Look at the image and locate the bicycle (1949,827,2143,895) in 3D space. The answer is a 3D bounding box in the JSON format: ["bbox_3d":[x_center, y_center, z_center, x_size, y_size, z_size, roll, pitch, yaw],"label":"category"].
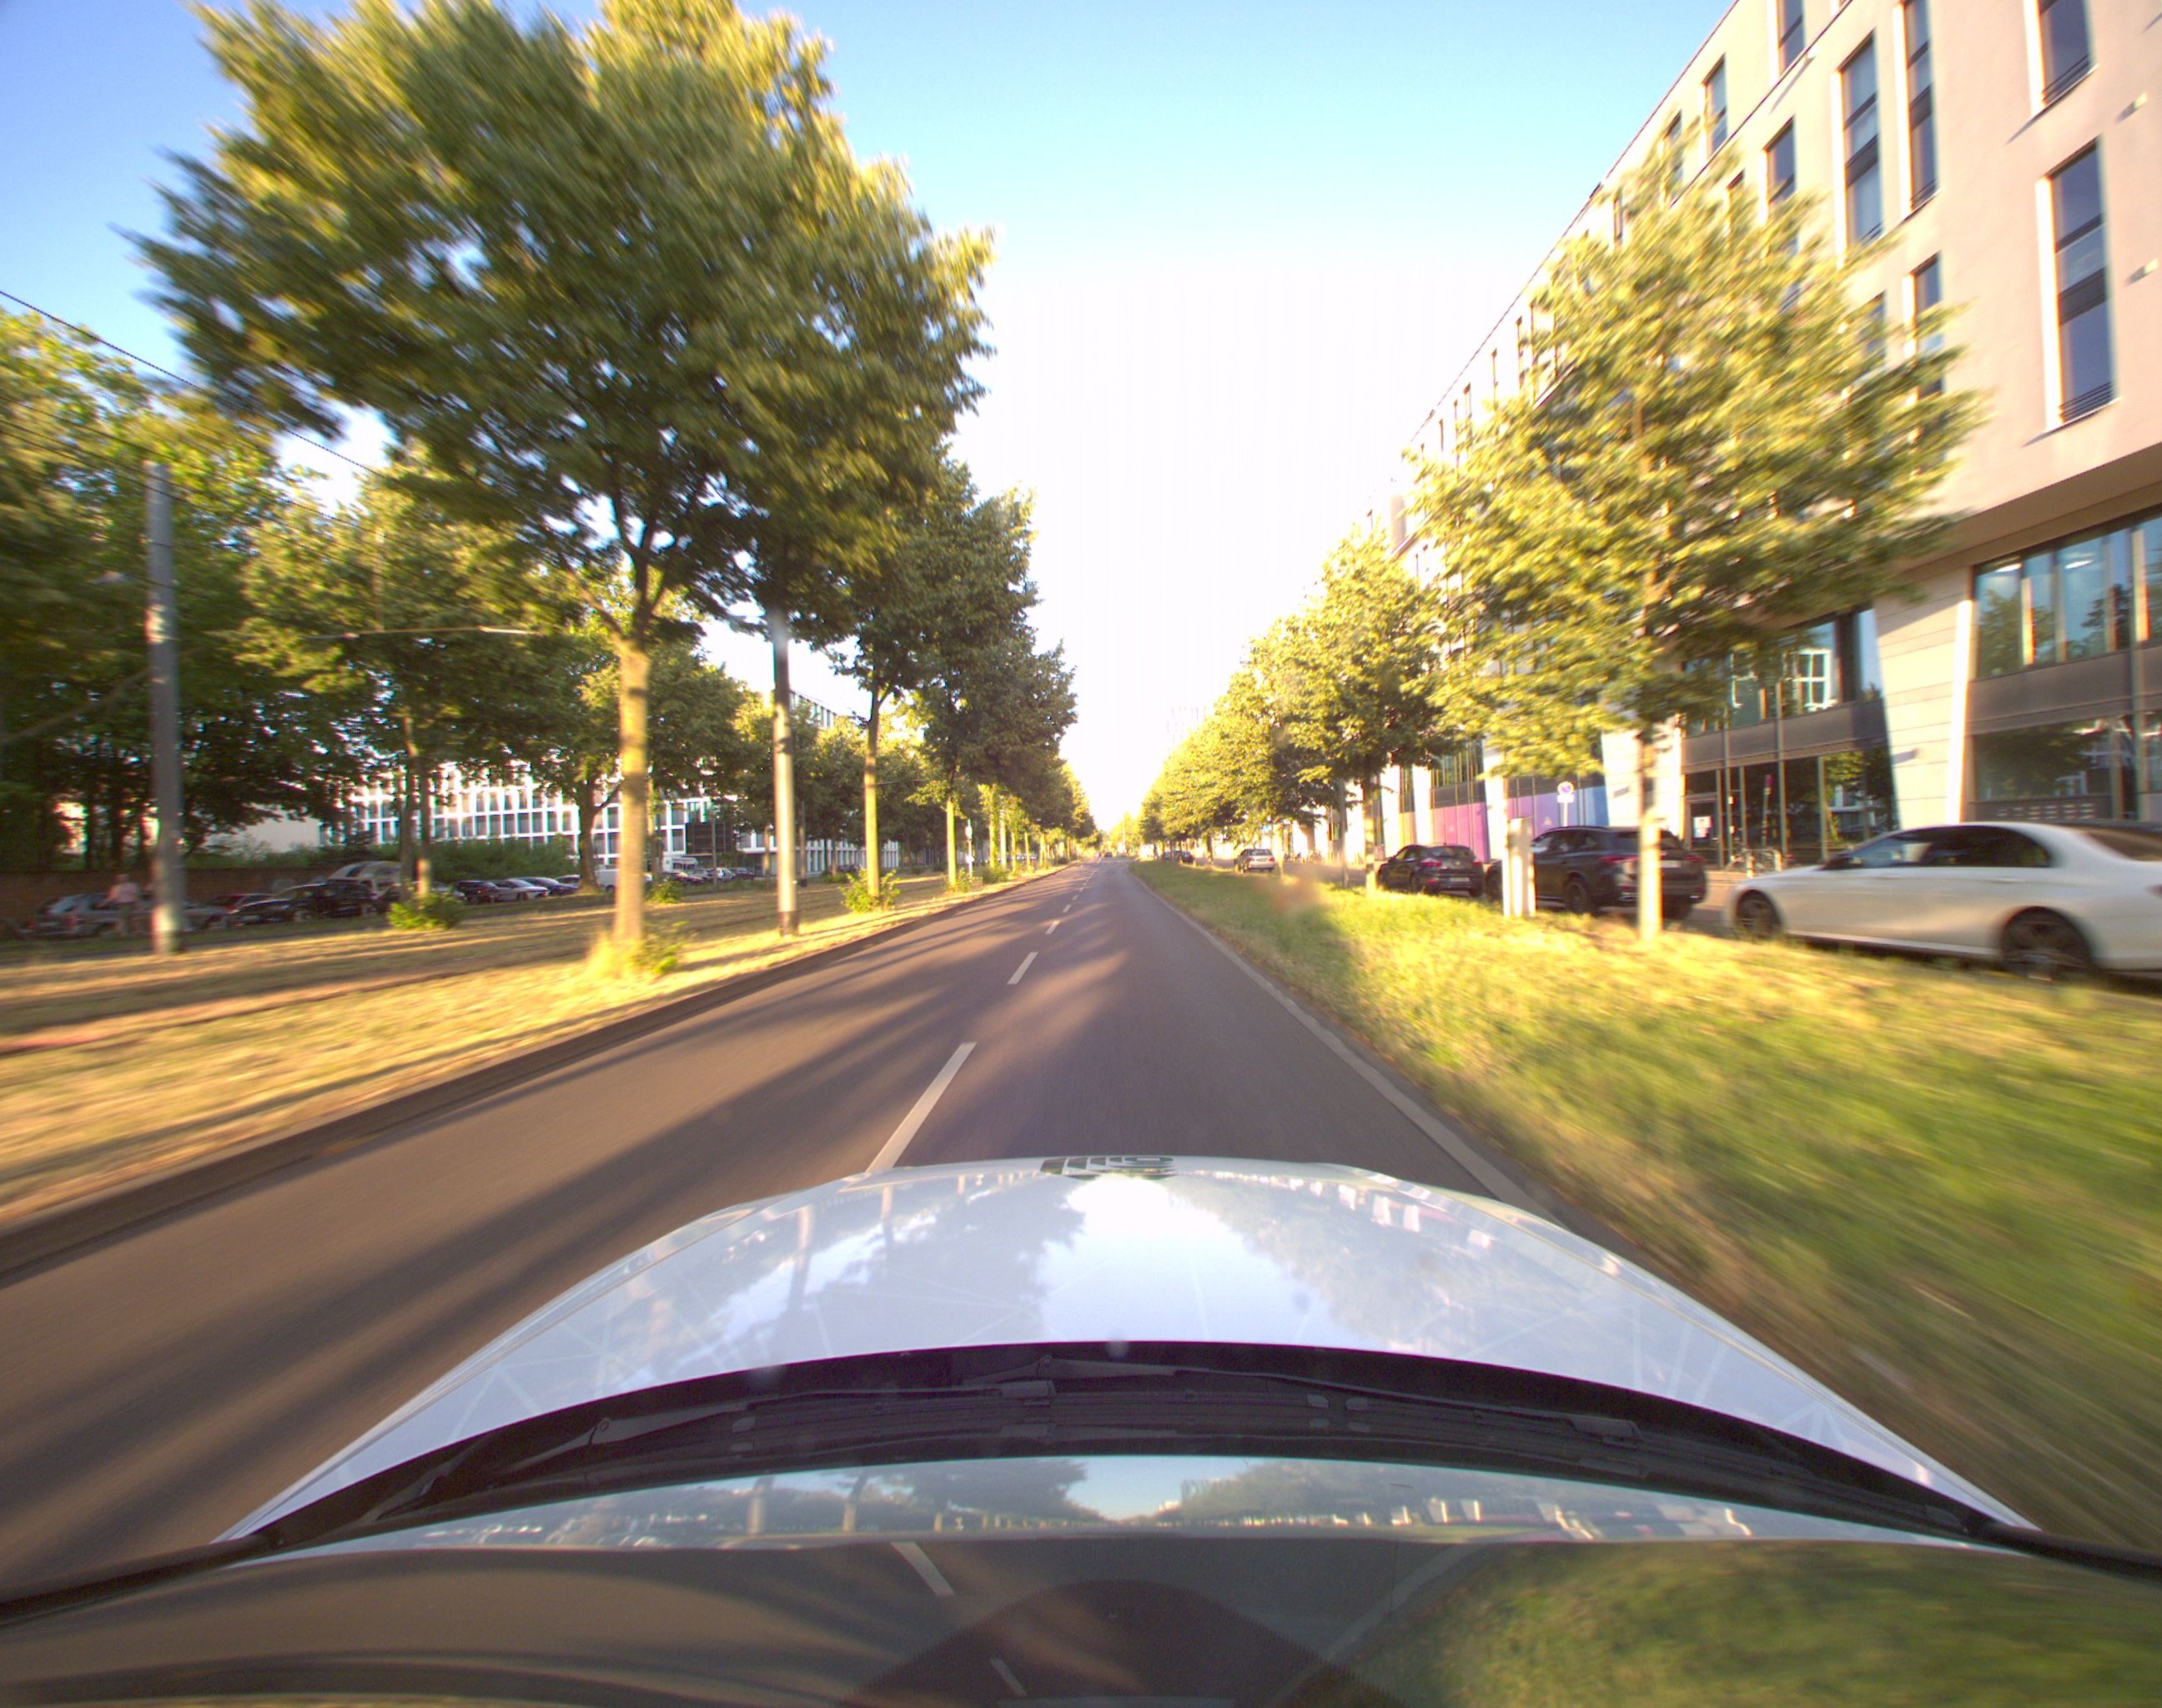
[{"bbox_3d":[16.350,0.111,13.913,0.618,1.033,2.261,-2,0,1],"label":"bicycle"}]

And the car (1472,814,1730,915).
[{"bbox_3d":[9.559,0.166,15.571,1.946,1.623,4.822,0,0,1],"label":"car"}]

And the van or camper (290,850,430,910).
[{"bbox_3d":[-36.329,1.229,41.279,2.078,2.735,5.494,-2,0,0],"label":"van or camper"}]

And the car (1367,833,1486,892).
[{"bbox_3d":[9.646,0.207,23.090,1.717,1.501,4.235,-1,0,2],"label":"car"}]

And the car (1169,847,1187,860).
[{"bbox_3d":[11.945,-0.061,100.542,1.848,1.529,4.484,-1,0,1],"label":"car"}]

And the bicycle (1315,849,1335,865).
[{"bbox_3d":[17.658,0.234,58.862,0.533,1.061,1.850,-4,0,-11],"label":"bicycle"}]

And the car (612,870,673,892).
[{"bbox_3d":[-35.849,2.186,66.667,3.964,1.640,1.927,-2,0,8],"label":"car"}]

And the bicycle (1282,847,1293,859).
[{"bbox_3d":[18.296,-0.095,72.213,0.531,1.061,1.858,-4,0,2],"label":"bicycle"}]

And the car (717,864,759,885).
[{"bbox_3d":[-35.220,2.070,83.744,1.986,2.013,4.933,-2,0,1],"label":"car"}]

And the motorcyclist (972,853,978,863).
[{"bbox_3d":[-15.876,0.579,121.600,0.678,1.375,0.805,-2,0,1],"label":"motorcyclist"}]

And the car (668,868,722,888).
[{"bbox_3d":[-35.221,2.204,74.390,3.976,1.640,1.921,-2,0,-2],"label":"car"}]

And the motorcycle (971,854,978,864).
[{"bbox_3d":[-15.866,0.730,121.571,0.679,1.336,2.345,-2,0,1],"label":"motorcycle"}]

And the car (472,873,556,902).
[{"bbox_3d":[-36.316,2.110,52.232,3.970,1.640,1.924,-2,0,3],"label":"car"}]

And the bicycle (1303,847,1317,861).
[{"bbox_3d":[17.860,-0.007,63.528,0.531,1.061,1.858,-4,0,2],"label":"bicycle"}]

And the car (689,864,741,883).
[{"bbox_3d":[-34.332,1.835,76.515,3.976,1.640,1.921,-2,0,-2],"label":"car"}]

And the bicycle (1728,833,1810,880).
[{"bbox_3d":[16.620,0.061,19.721,0.532,1.059,1.610,-2,0,-4],"label":"bicycle"}]

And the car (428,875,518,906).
[{"bbox_3d":[-36.628,2.176,49.095,3.969,1.640,1.924,-2,0,3],"label":"car"}]

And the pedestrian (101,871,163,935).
[{"bbox_3d":[-26.919,1.376,23.116,0.692,1.759,0.864,-2,0,-6],"label":"pedestrian"}]

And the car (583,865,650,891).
[{"bbox_3d":[-36.369,1.885,63.844,3.971,1.844,2.013,-2,0,2],"label":"car"}]

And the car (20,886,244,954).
[{"bbox_3d":[-29.799,2.001,25.801,1.983,1.750,4.168,-2,0,7],"label":"car"}]

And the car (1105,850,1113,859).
[{"bbox_3d":[7.406,0.116,212.984,1.986,2.013,4.001,-2,0,1],"label":"car"}]

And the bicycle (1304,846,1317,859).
[{"bbox_3d":[18.530,-0.131,65.796,0.531,1.061,1.858,-4,0,2],"label":"bicycle"}]

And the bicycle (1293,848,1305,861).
[{"bbox_3d":[18.854,0.059,70.336,0.531,1.061,1.858,-4,0,2],"label":"bicycle"}]

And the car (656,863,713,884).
[{"bbox_3d":[-35.101,1.688,72.179,3.976,1.640,1.921,-2,0,-2],"label":"car"}]

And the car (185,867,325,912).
[{"bbox_3d":[-36.294,1.505,35.961,1.986,1.750,4.001,-2,0,1],"label":"car"}]

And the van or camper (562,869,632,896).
[{"bbox_3d":[-36.087,2.119,60.839,3.986,1.791,1.994,-2,0,-9],"label":"van or camper"}]

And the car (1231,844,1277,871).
[{"bbox_3d":[10.450,0.197,49.500,1.802,1.501,4.826,-2,0,1],"label":"car"}]

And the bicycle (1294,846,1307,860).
[{"bbox_3d":[18.022,-0.088,66.908,0.531,1.061,1.858,-4,0,2],"label":"bicycle"}]

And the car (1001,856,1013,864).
[{"bbox_3d":[-15.065,1.271,165.562,1.878,1.578,4.183,-2,0,1],"label":"car"}]

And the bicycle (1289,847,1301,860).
[{"bbox_3d":[18.252,-0.077,69.402,0.531,1.061,1.858,-2,0,2],"label":"bicycle"}]

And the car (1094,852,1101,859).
[{"bbox_3d":[4.645,0.365,229.229,2.080,2.013,4.001,-2,0,1],"label":"car"}]

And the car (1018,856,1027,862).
[{"bbox_3d":[-13.645,1.172,189.366,1.651,1.332,4.530,-2,0,0],"label":"car"}]

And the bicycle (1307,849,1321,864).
[{"bbox_3d":[17.407,0.200,60.804,0.531,1.061,1.858,-4,0,2],"label":"bicycle"}]

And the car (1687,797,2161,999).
[{"bbox_3d":[9.045,0.284,8.398,1.914,1.501,5.011,-2,0,1],"label":"car"}]

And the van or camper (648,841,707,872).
[{"bbox_3d":[-43.150,0.271,87.319,2.697,3.085,6.272,-2,0,5],"label":"van or camper"}]

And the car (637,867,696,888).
[{"bbox_3d":[-35.224,1.983,69.288,3.976,1.640,1.921,-2,0,-2],"label":"car"}]

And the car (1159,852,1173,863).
[{"bbox_3d":[12.475,0.512,119.205,1.718,1.529,4.270,-1,0,1],"label":"car"}]

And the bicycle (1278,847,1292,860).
[{"bbox_3d":[17.524,-0.066,69.936,0.533,1.061,1.776,-4,0,-7],"label":"bicycle"}]

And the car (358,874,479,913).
[{"bbox_3d":[-30.016,1.756,37.054,1.984,1.486,4.005,-2,0,5],"label":"car"}]

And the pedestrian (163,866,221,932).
[{"bbox_3d":[-26.106,1.304,23.925,0.692,1.870,0.864,-2,0,-6],"label":"pedestrian"}]

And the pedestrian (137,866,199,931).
[{"bbox_3d":[-25.667,1.230,22.910,0.691,1.743,0.866,-2,0,-1],"label":"pedestrian"}]

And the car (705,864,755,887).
[{"bbox_3d":[-34.178,2.111,79.374,3.976,2.013,1.999,-2,0,-2],"label":"car"}]

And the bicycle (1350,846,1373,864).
[{"bbox_3d":[18.153,0.070,52.693,0.533,1.061,1.850,-4,0,-11],"label":"bicycle"}]

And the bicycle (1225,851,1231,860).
[{"bbox_3d":[19.275,0.181,106.622,0.567,1.124,1.840,-4,0,13],"label":"bicycle"}]

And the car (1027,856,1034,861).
[{"bbox_3d":[-14.713,1.247,238.655,1.770,1.411,3.708,-2,0,0],"label":"car"}]

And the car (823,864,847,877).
[{"bbox_3d":[-32.189,2.165,106.597,1.852,1.581,3.494,-2,0,3],"label":"car"}]

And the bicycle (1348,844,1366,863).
[{"bbox_3d":[17.820,-0.031,52.667,0.536,1.164,1.782,-4,0,2],"label":"bicycle"}]

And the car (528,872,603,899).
[{"bbox_3d":[-36.541,2.212,57.791,3.976,1.640,1.921,-2,0,-2],"label":"car"}]

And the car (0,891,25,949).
[{"bbox_3d":[-30.549,1.860,20.851,1.793,1.560,3.845,-2,0,7],"label":"car"}]

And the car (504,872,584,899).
[{"bbox_3d":[-36.050,2.105,54.763,3.976,1.640,1.921,-2,0,-2],"label":"car"}]

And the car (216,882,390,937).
[{"bbox_3d":[-29.813,2.069,31.462,1.986,1.750,4.792,-2,0,1],"label":"car"}]

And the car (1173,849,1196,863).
[{"bbox_3d":[11.796,0.226,93.190,1.937,1.549,4.811,-2,0,0],"label":"car"}]
